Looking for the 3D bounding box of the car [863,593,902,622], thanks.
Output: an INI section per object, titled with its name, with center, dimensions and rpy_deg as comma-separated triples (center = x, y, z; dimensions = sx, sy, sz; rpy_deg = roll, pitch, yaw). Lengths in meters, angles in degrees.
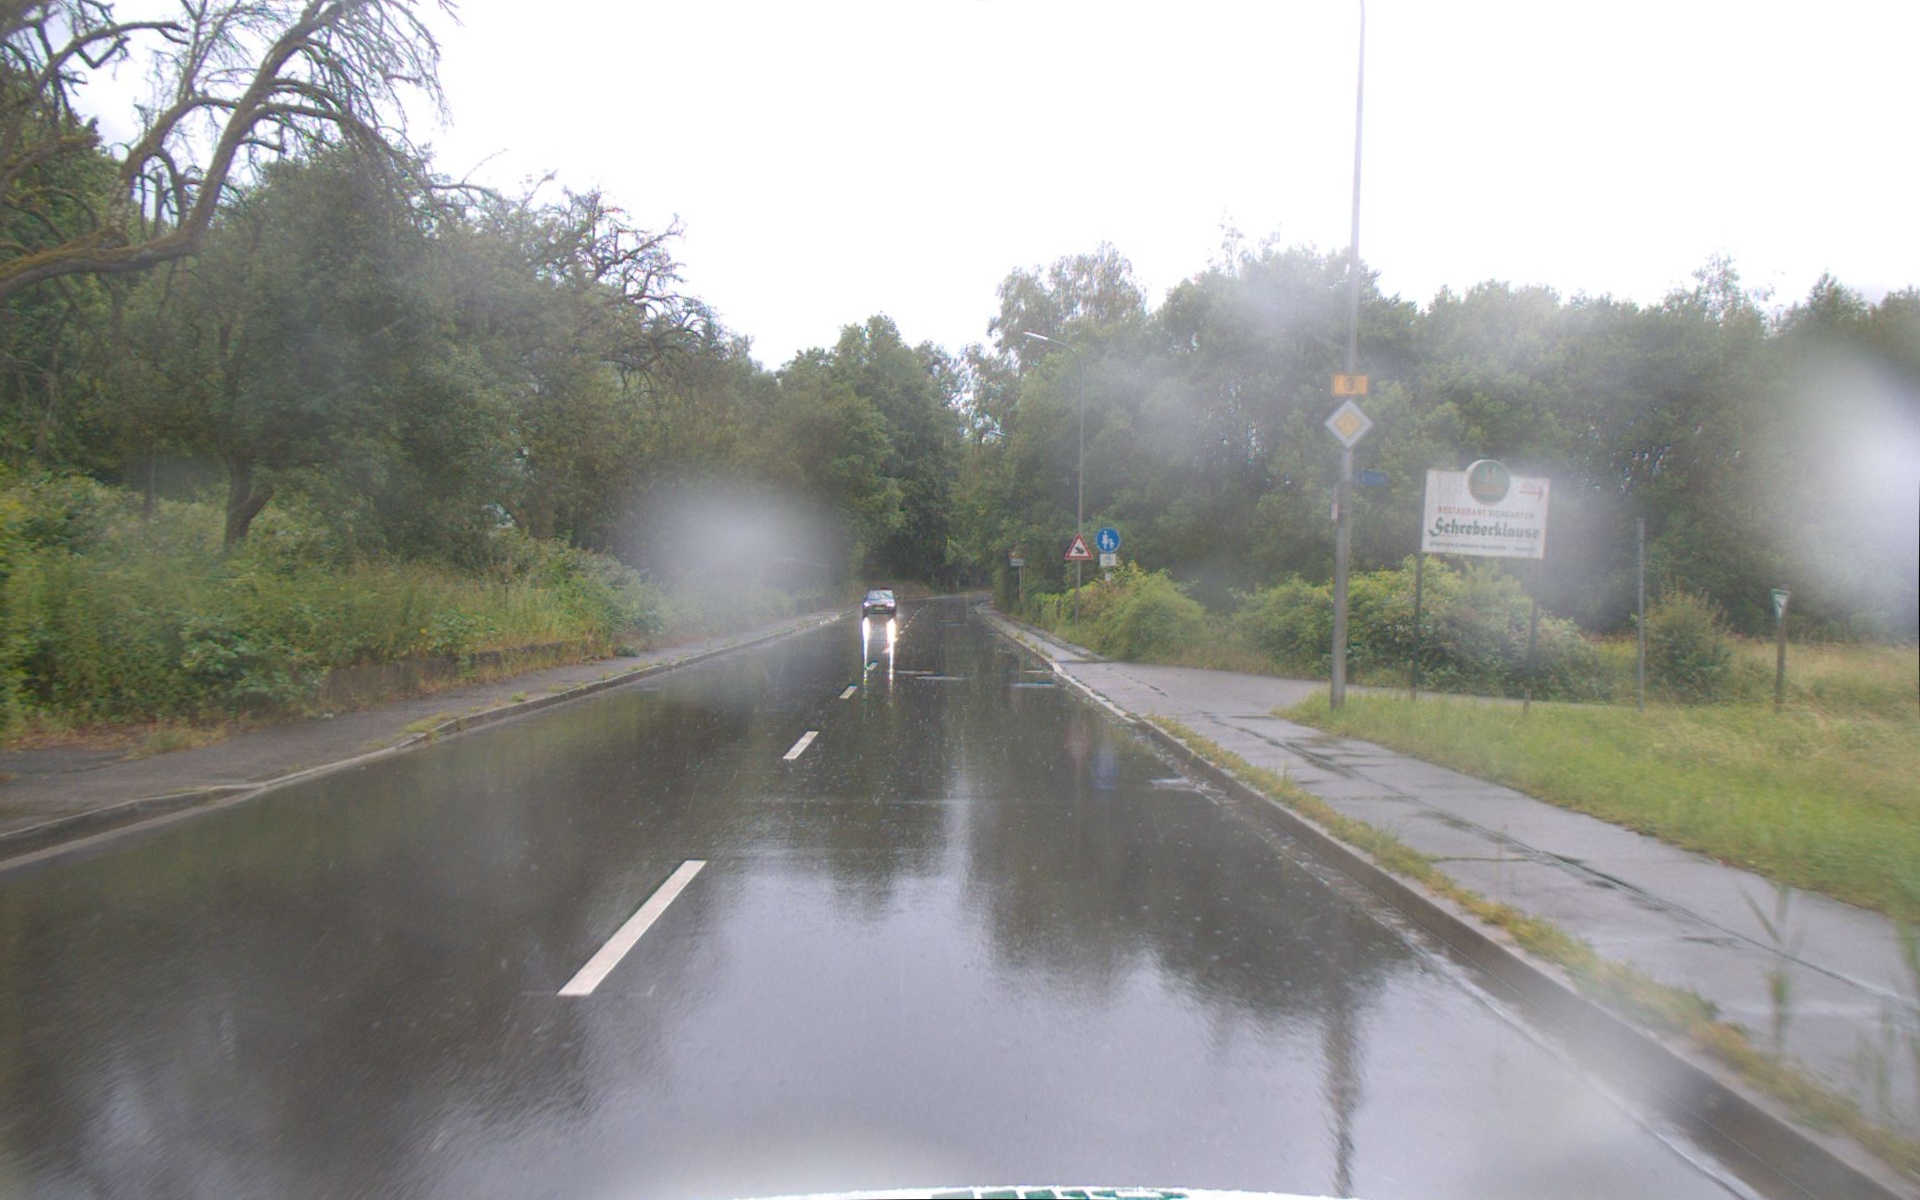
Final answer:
[car]
center = -4.238, 0.378, 90.655
dimensions = 1.953, 1.479, 4.427
rpy_deg = 1, 1, -1
